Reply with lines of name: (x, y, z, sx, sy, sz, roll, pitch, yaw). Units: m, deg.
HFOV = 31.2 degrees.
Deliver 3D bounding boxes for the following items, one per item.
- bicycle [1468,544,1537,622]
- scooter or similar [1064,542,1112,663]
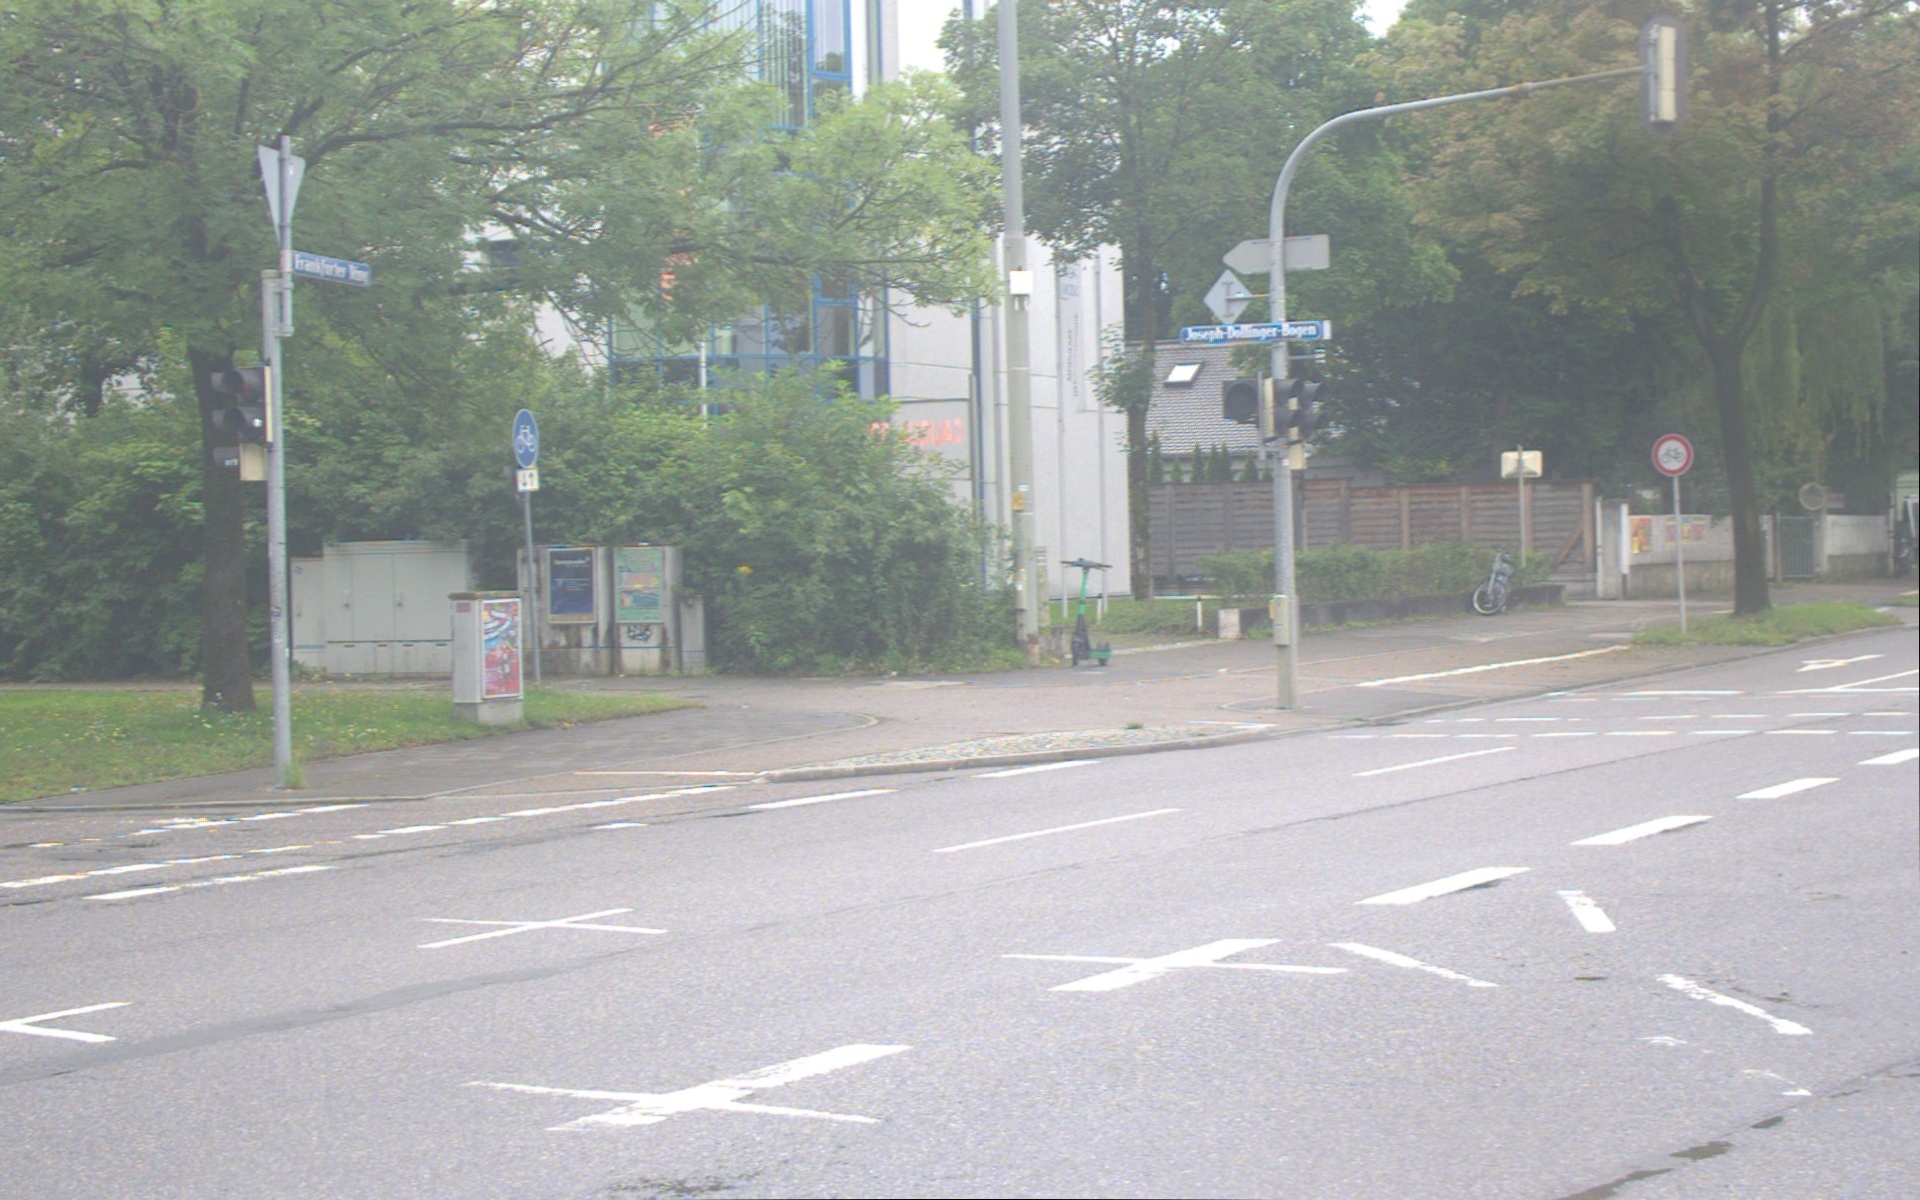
bicycle: (9.276, -0.304, 58.743, 0.583, 1.291, 2.451, 0, 1, 23)
scooter or similar: (1.534, 0.017, 41.040, 0.370, 1.419, 1.405, 0, 1, 10)
